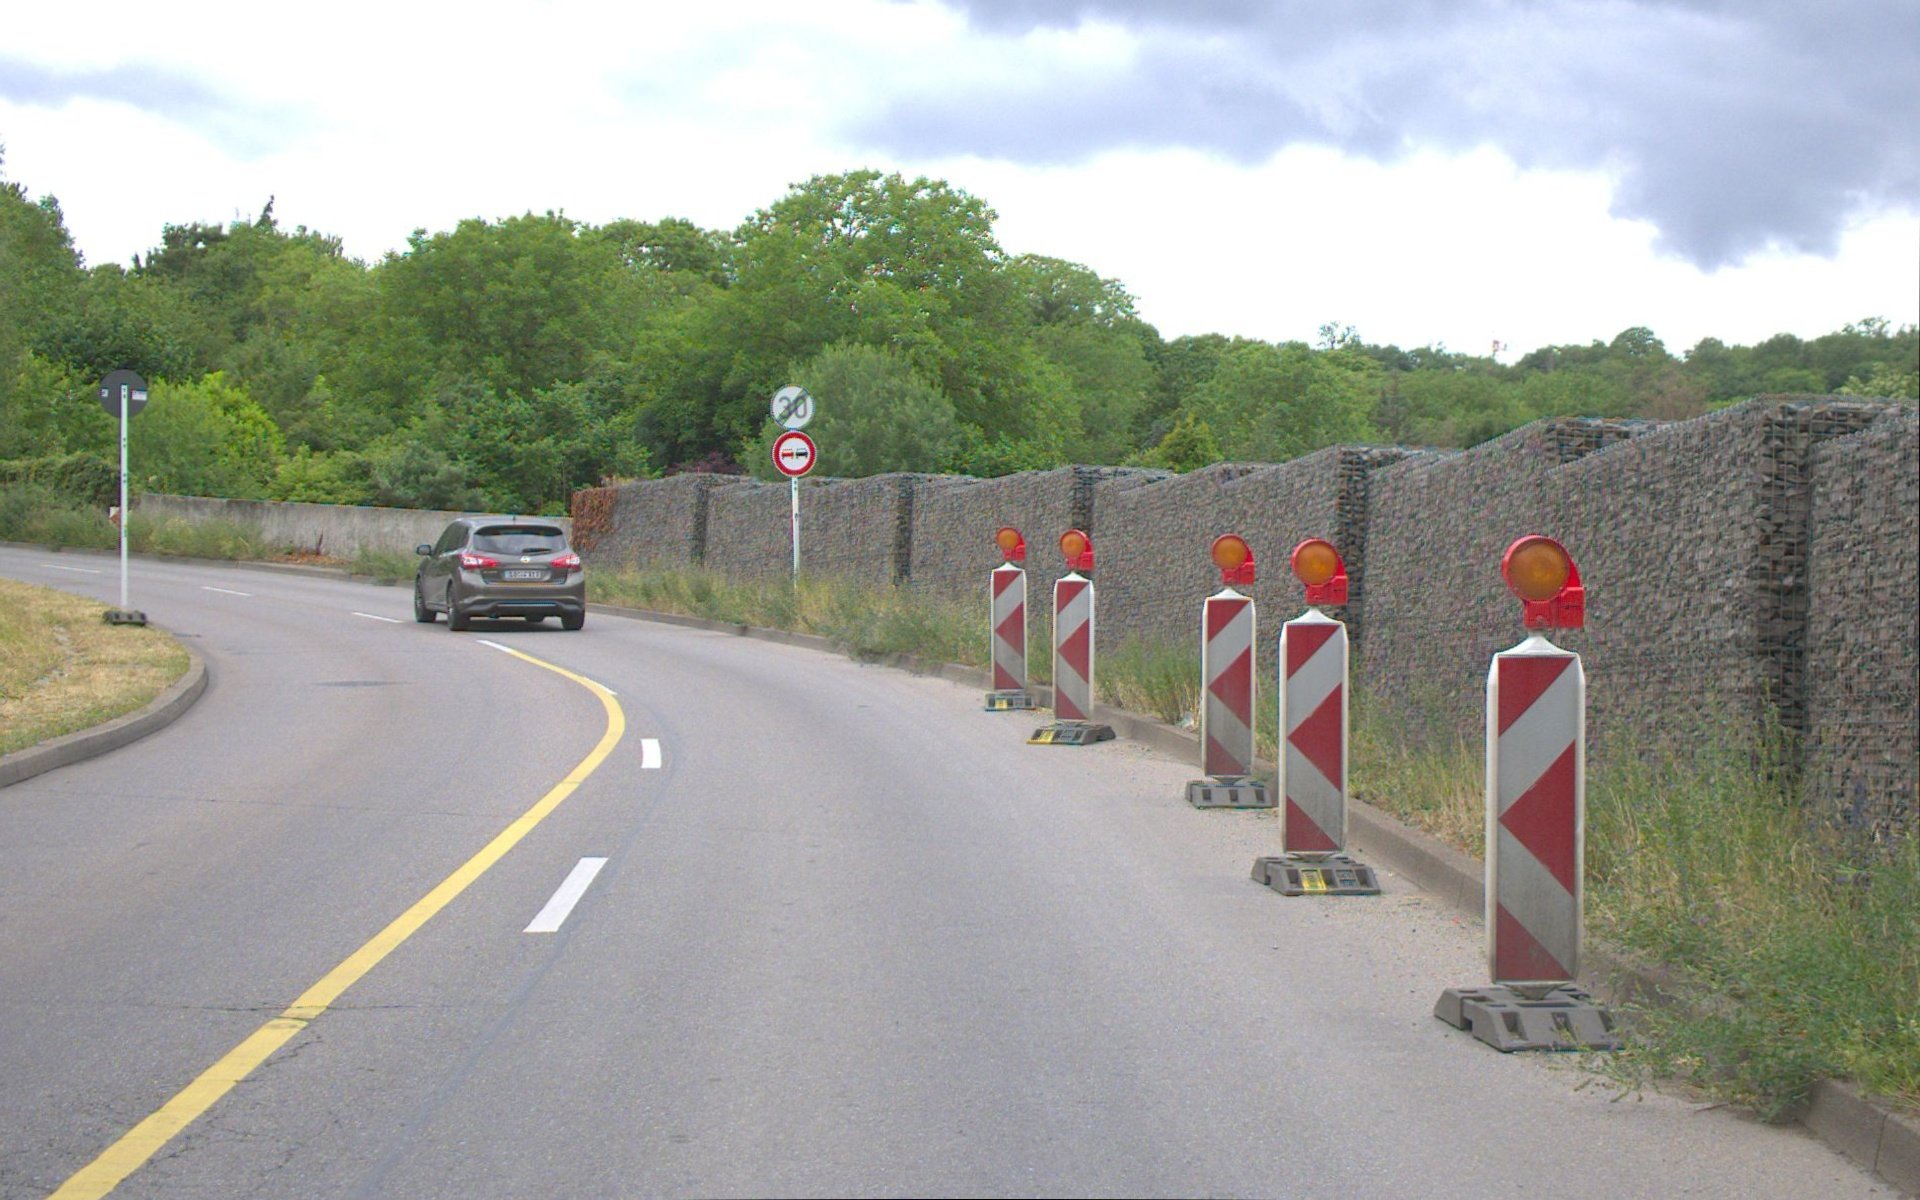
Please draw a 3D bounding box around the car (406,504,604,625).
[{"bbox_3d":[-6.235,-0.506,46.741,1.839,1.478,4.002,0,3,-20],"label":"car"}]
